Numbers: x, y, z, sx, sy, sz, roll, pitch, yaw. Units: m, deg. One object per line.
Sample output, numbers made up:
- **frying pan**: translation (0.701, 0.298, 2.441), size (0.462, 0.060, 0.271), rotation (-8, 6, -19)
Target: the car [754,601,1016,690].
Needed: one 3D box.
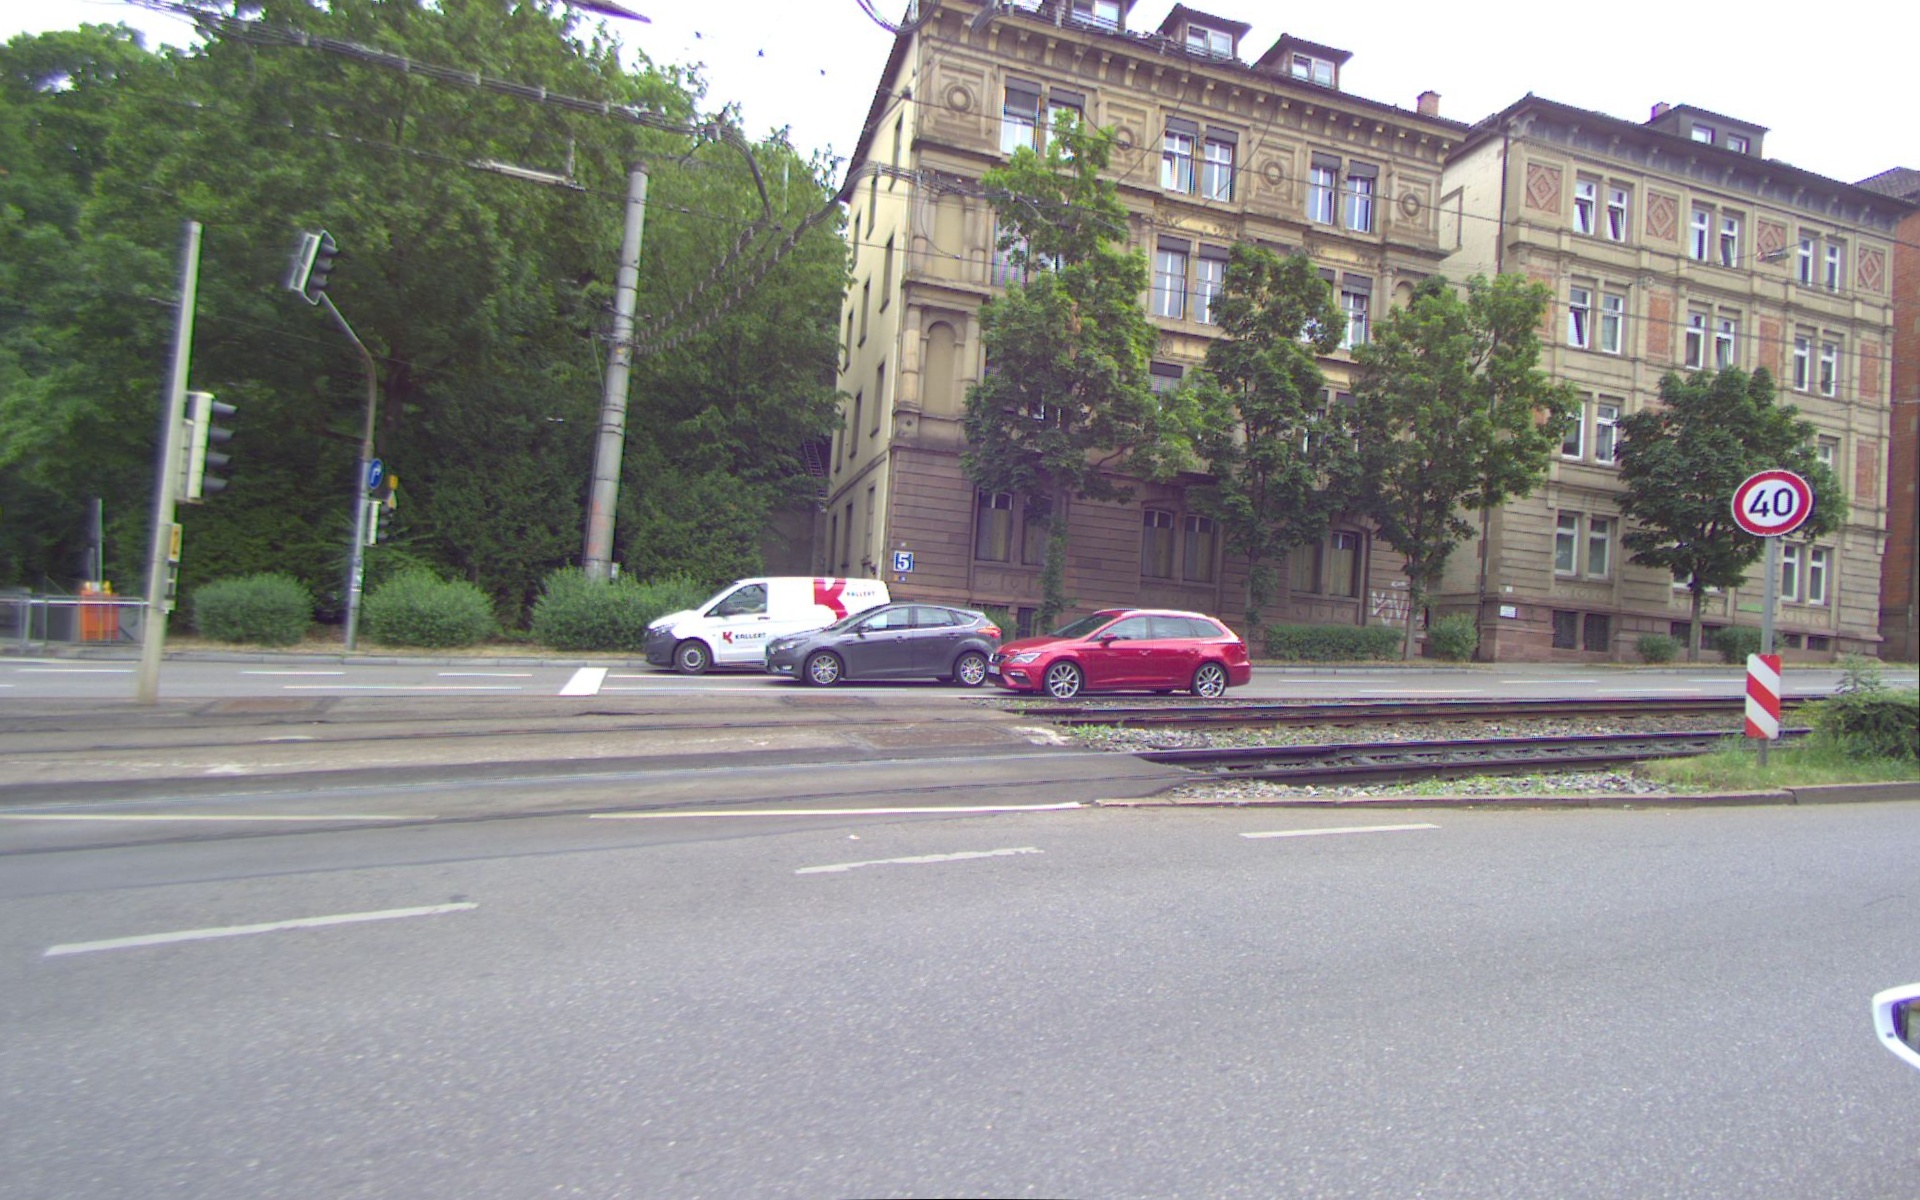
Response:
- **car**: translation (-1.351, 0.787, 17.827), size (4.336, 1.446, 1.741), rotation (1, 0, -18)

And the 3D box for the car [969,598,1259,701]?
- **car**: translation (2.526, 0.805, 16.711), size (4.337, 1.539, 1.992), rotation (2, 0, -19)

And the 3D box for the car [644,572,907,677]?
- **car**: translation (-3.690, 0.522, 20.057), size (4.913, 1.874, 1.993), rotation (2, -1, -18)
